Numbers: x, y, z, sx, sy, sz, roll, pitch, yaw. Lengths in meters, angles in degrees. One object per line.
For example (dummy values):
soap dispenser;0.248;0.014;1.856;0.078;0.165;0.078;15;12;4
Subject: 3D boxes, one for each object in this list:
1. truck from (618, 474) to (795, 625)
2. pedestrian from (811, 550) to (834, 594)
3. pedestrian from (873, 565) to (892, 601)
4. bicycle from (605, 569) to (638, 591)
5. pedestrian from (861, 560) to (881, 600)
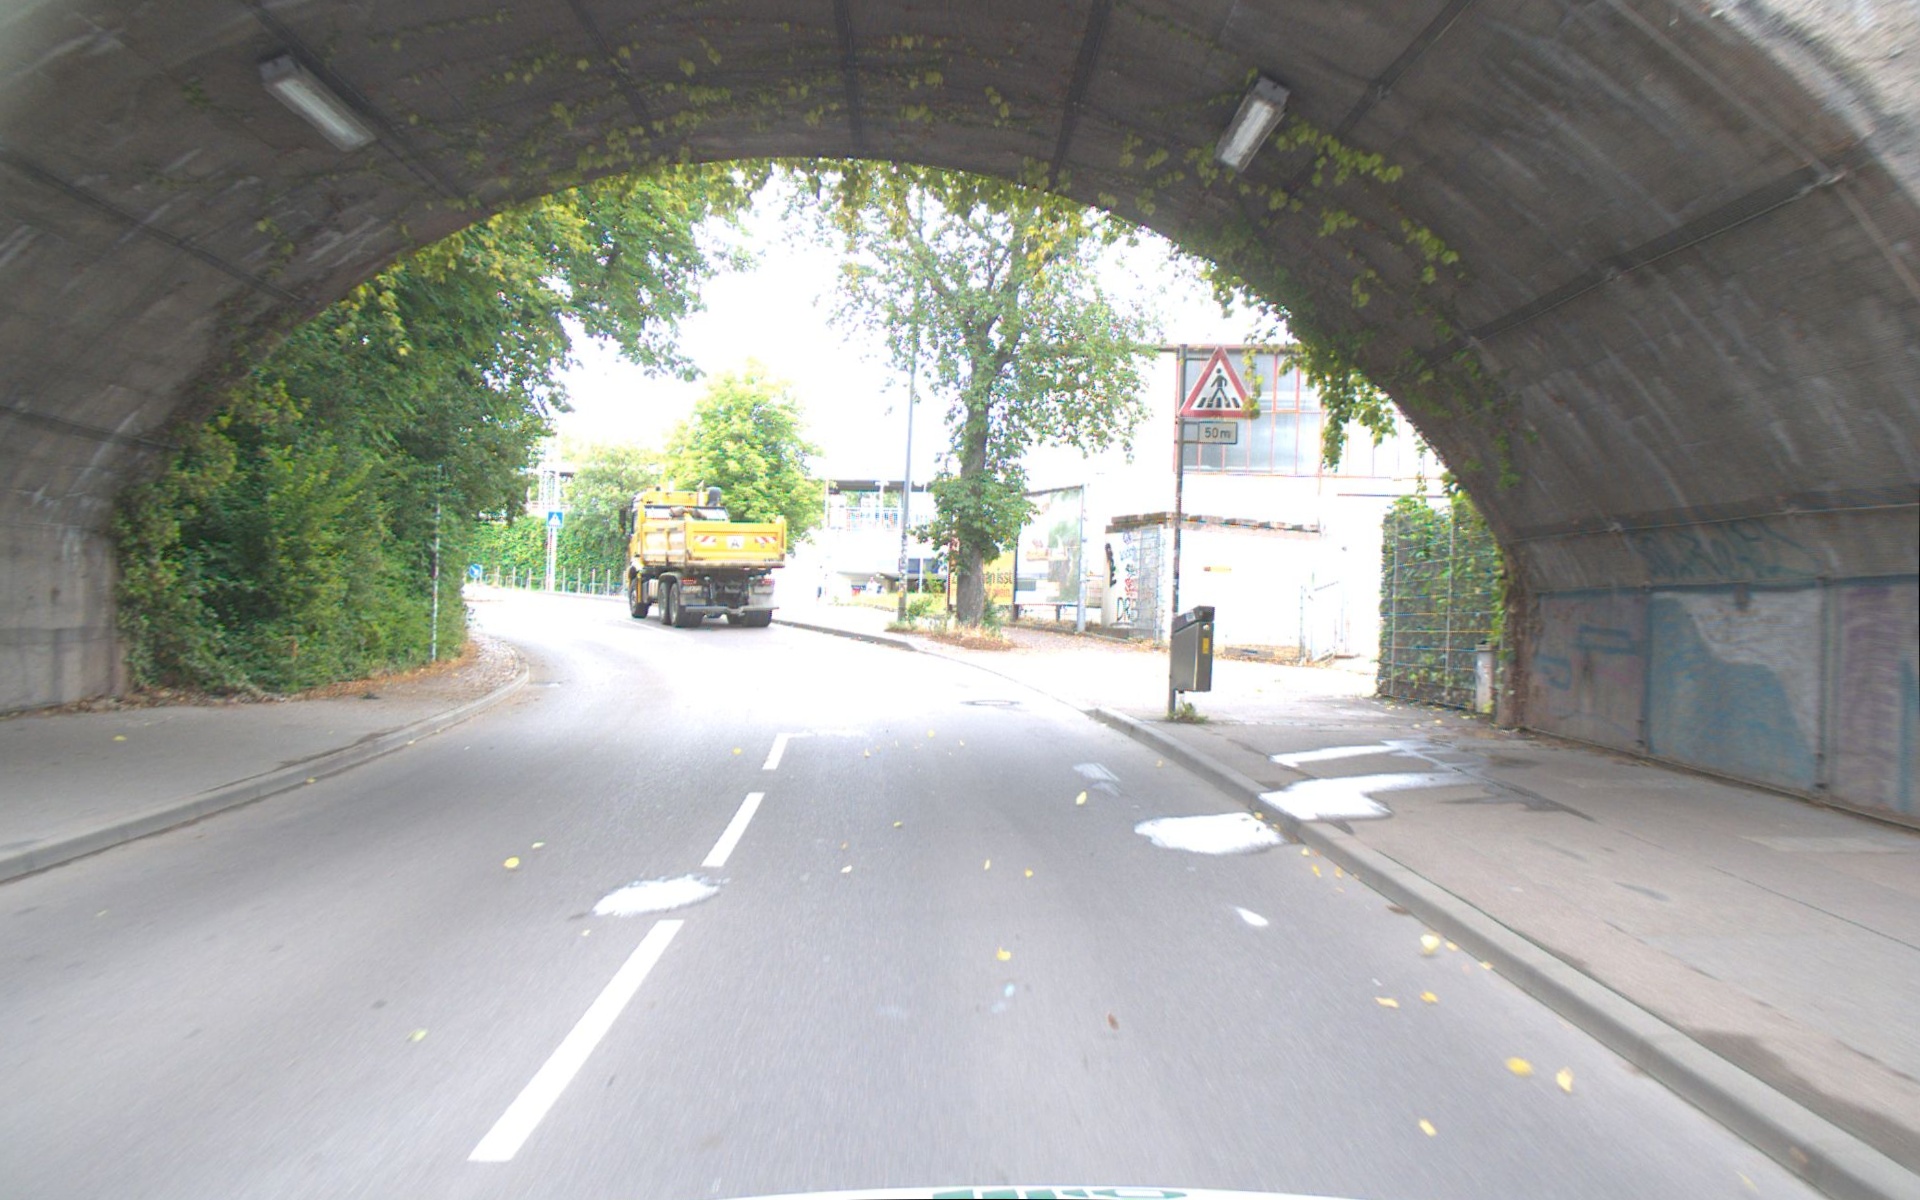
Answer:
truck;-6.852;-1.418;43.558;2.727;3.543;8.076;1;3;-22
pedestrian;-5.491;-1.096;66.172;0.831;1.713;0.939;1;-1;-4
pedestrian;-3.556;-0.757;75.738;0.783;1.611;0.802;2;-1;0
bicycle;-17.133;-1.005;83.599;1.467;1.006;0.690;5;-1;-22
pedestrian;-4.005;-0.882;74.176;0.797;1.732;0.749;2;-1;0
